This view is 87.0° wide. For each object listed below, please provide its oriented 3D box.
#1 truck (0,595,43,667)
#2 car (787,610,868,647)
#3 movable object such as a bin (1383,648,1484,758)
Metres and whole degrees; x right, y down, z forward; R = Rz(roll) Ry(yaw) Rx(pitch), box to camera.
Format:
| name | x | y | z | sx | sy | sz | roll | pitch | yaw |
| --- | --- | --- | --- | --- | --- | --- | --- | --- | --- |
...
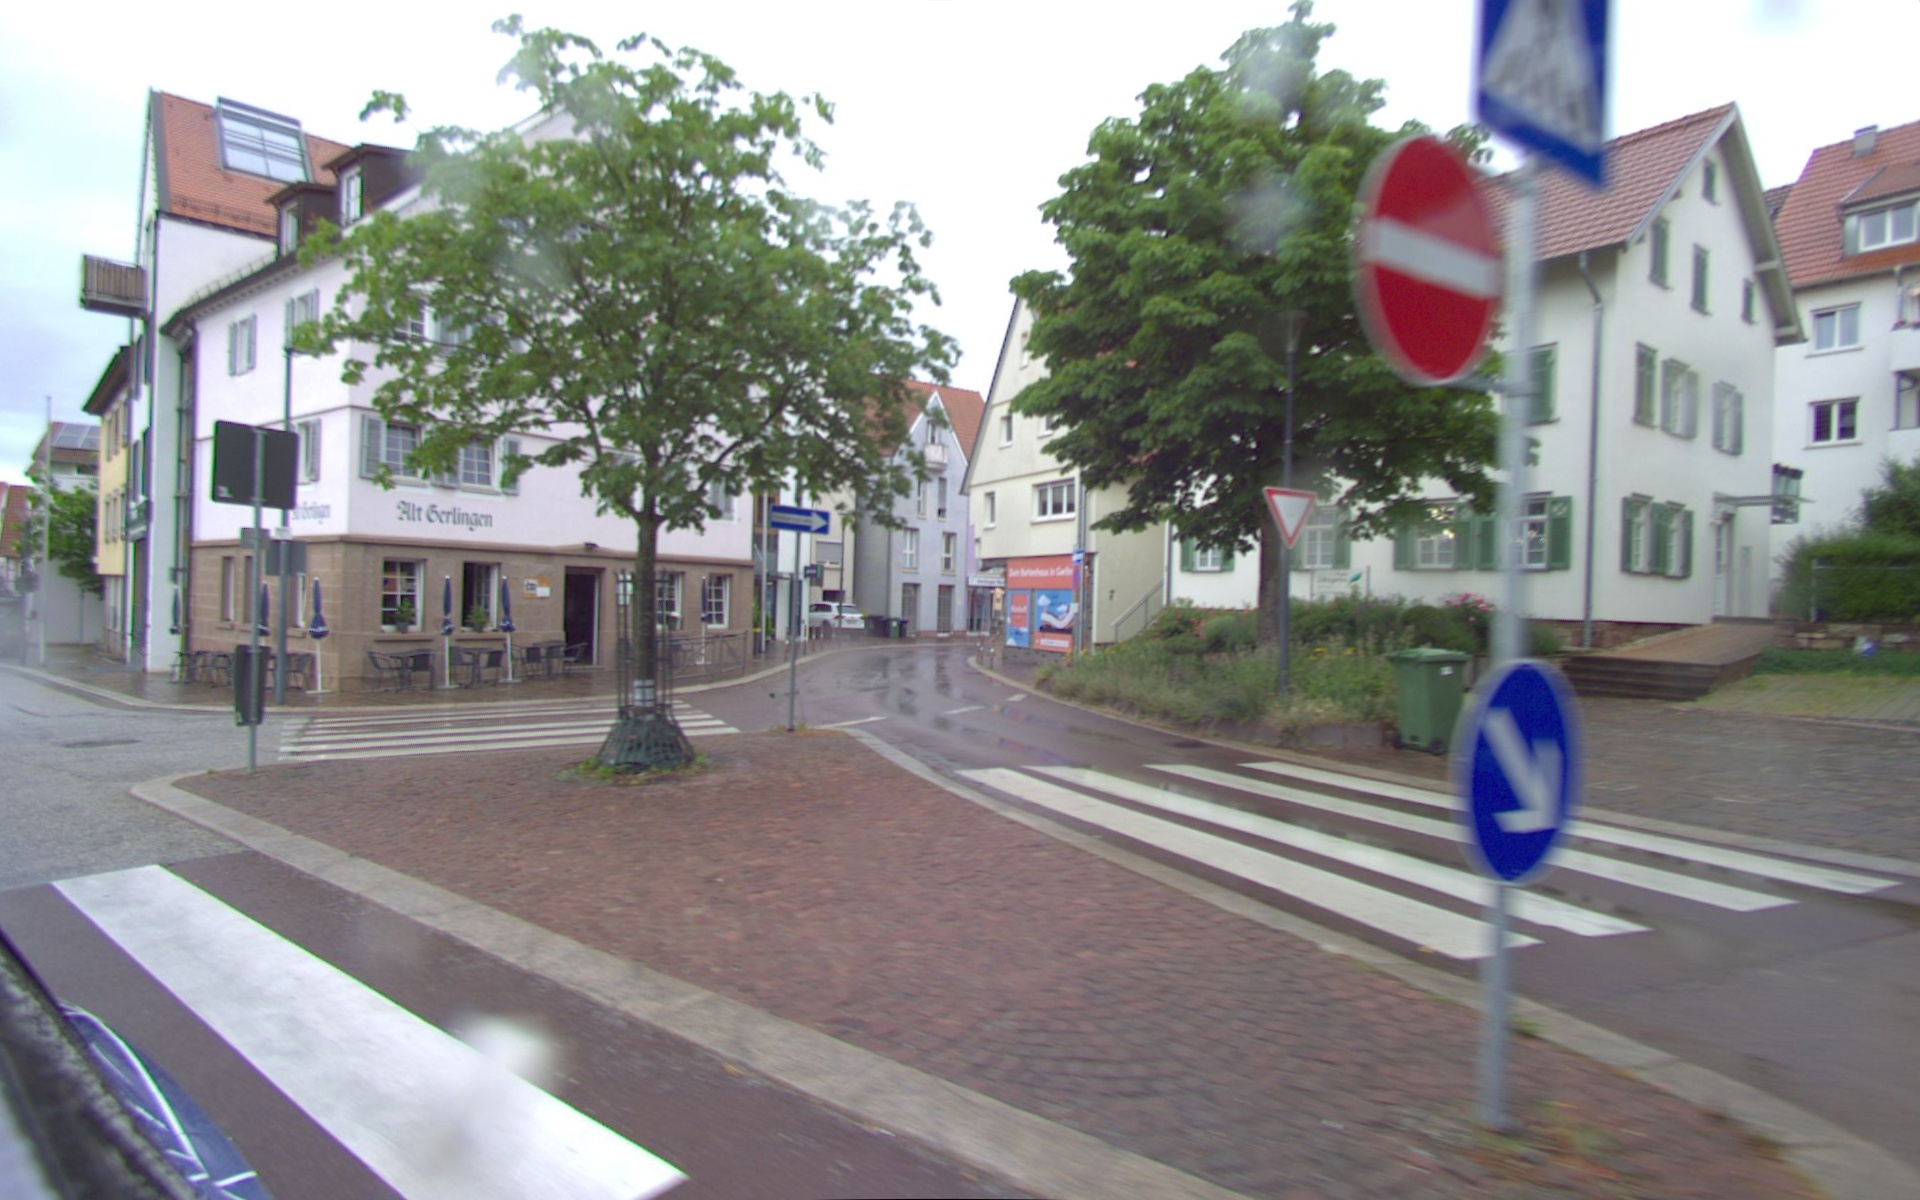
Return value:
| name | x | y | z | sx | sy | sz | roll | pitch | yaw |
| --- | --- | --- | --- | --- | --- | --- | --- | --- | --- |
| truck | -37.442 | 1.262 | 38.821 | 6.475 | 2.615 | 2.376 | -3 | -3 | 39 |
| car | -6.124 | 1.298 | 46.440 | 1.802 | 1.634 | 3.895 | 3 | -2 | -41 |
| movable object such as a bin | 4.896 | 1.044 | 10.486 | 0.625 | 1.067 | 0.700 | 2 | -2 | -24 |
